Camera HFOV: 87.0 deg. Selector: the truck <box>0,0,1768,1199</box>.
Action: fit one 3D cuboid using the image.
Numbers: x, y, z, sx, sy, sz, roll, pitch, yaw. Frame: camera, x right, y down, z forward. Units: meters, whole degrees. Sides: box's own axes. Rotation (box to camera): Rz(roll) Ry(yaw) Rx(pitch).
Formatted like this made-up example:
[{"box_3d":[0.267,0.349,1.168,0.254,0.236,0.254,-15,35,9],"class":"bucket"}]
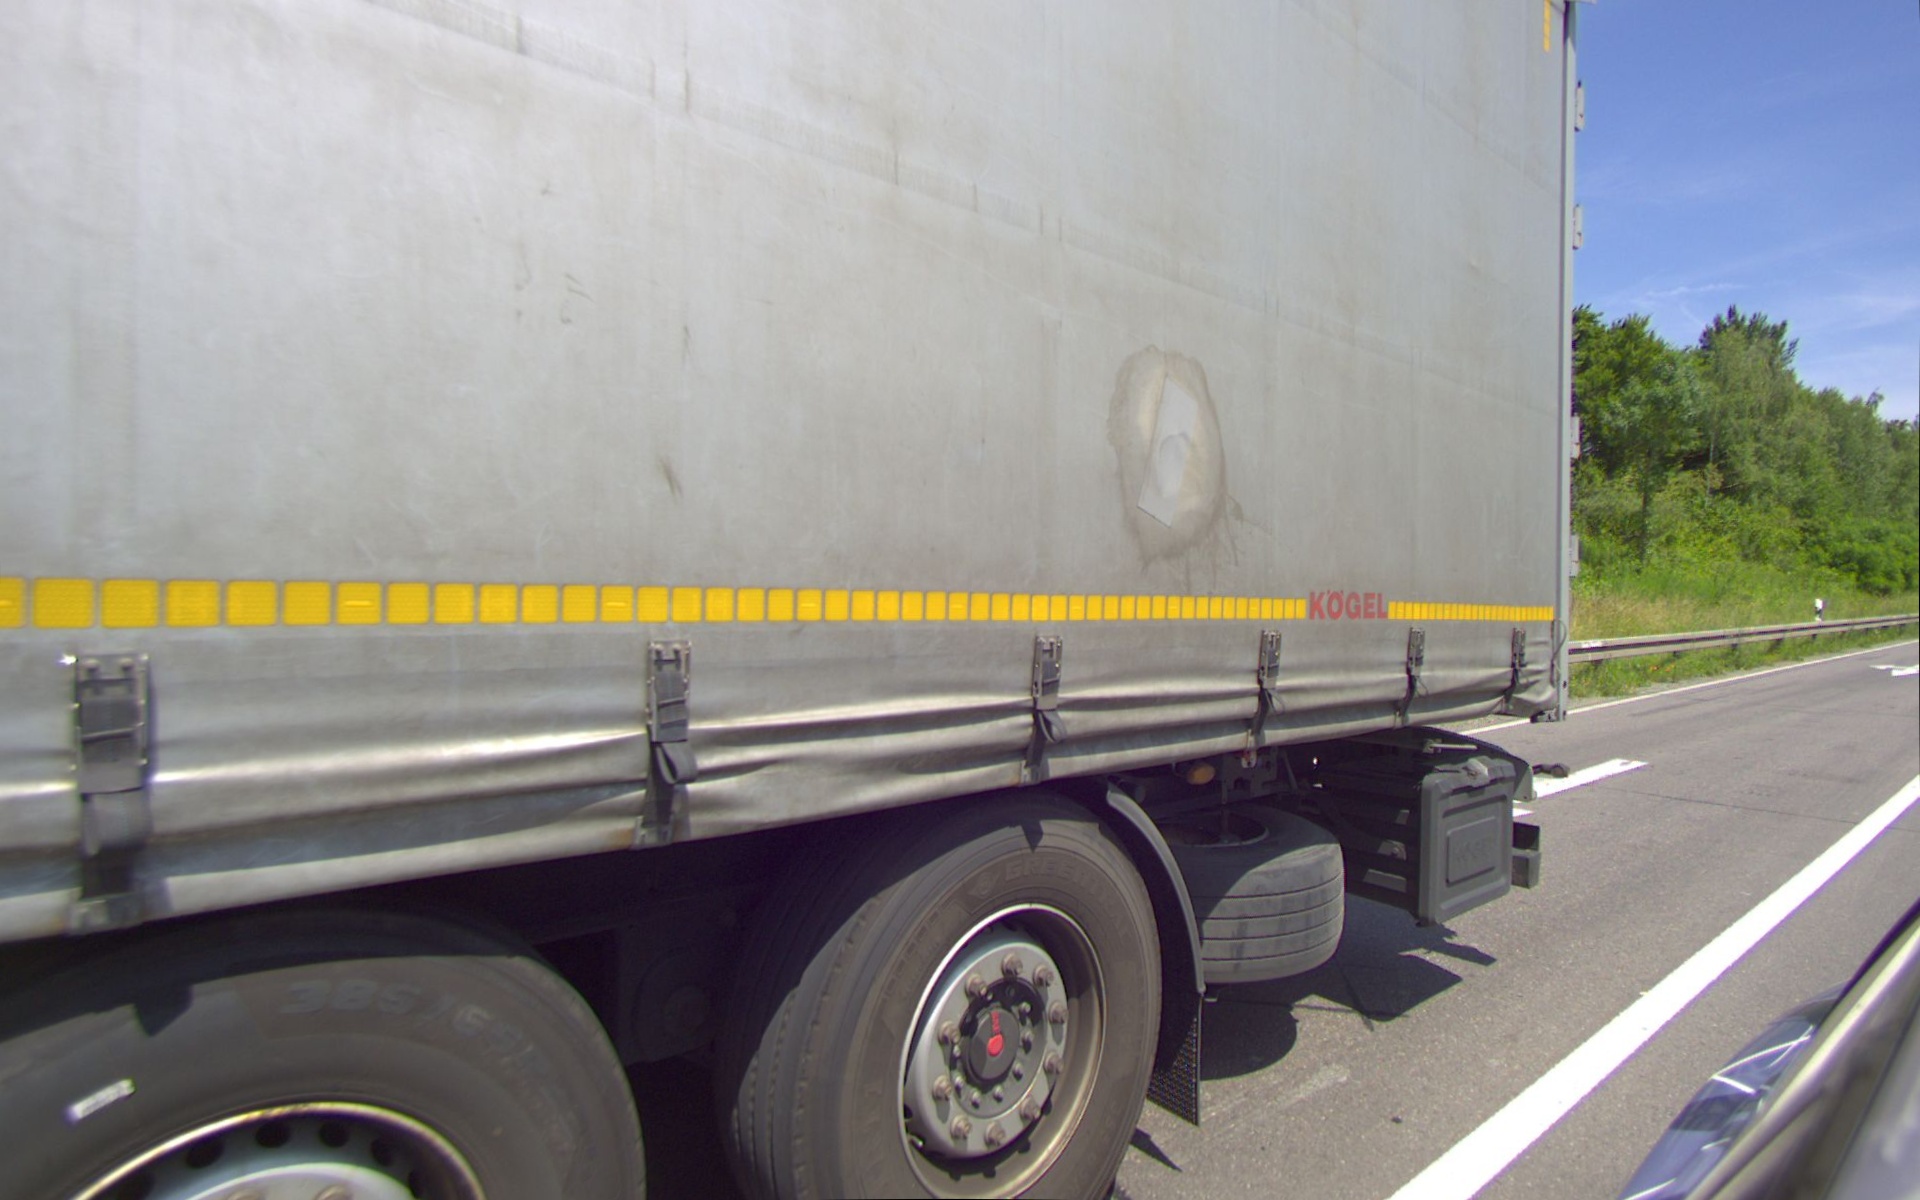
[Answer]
[{"box_3d":[-2.777,-0.668,1.010,13.875,4.059,2.980,0,3,-41],"class":"truck"}]
